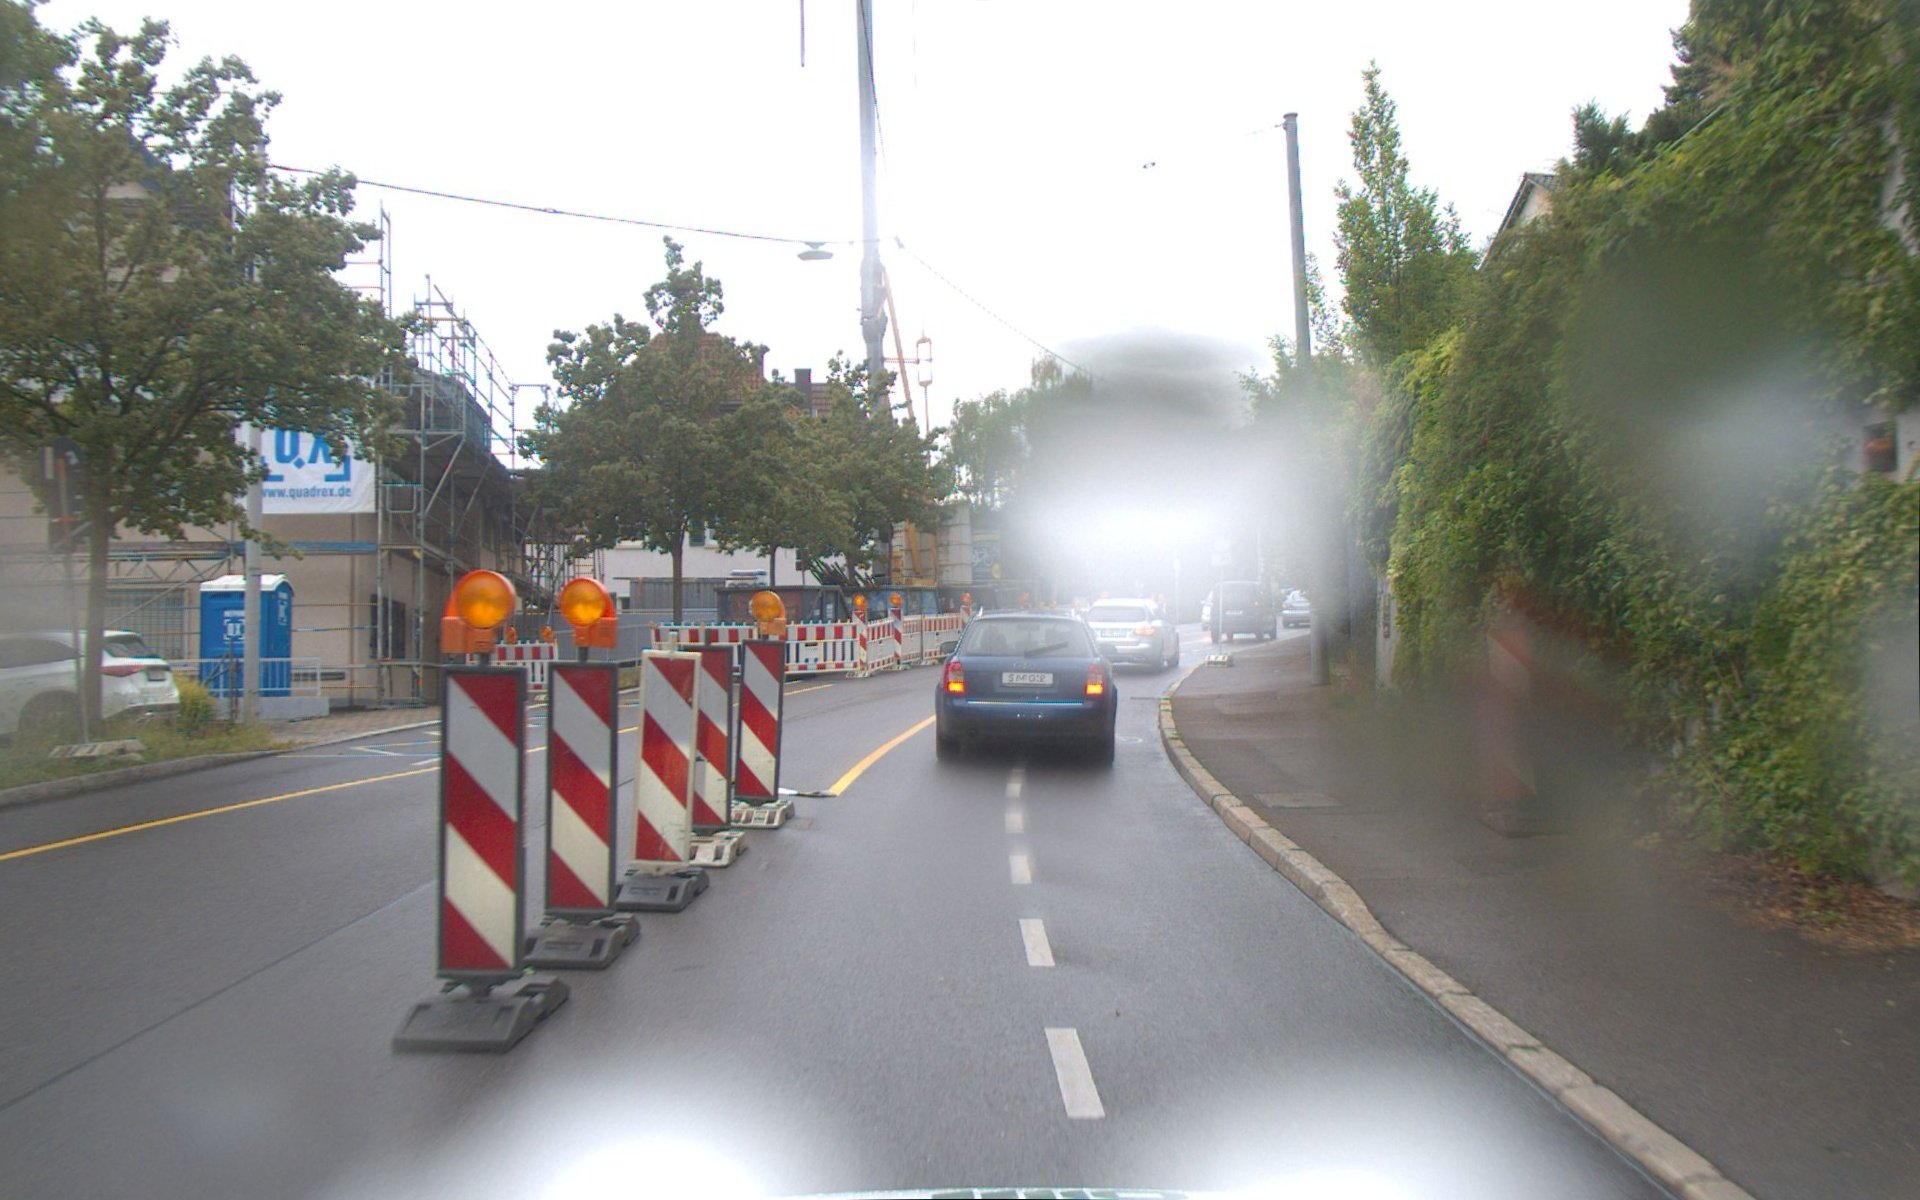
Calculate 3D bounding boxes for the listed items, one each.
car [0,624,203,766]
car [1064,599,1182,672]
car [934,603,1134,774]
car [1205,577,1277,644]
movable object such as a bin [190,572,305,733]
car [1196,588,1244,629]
[{"bbox_3d":[-12.343,1.284,21.416,4.115,1.632,1.948,-4,-1,-5],"label":"car"},{"bbox_3d":[3.487,0.709,34.682,1.868,1.413,4.354,0,0,14],"label":"car"},{"bbox_3d":[0.729,0.791,16.681,1.740,1.464,4.001,2,0,2],"label":"car"},{"bbox_3d":[8.903,0.287,52.149,1.694,1.927,4.058,-4,0,16],"label":"car"},{"bbox_3d":[-11.691,0.839,27.205,1.286,2.549,1.385,-1,0,-3],"label":"movable object such as a bin"},{"bbox_3d":[10.239,0.318,65.054,1.425,1.553,2.924,0,0,18],"label":"car"}]
